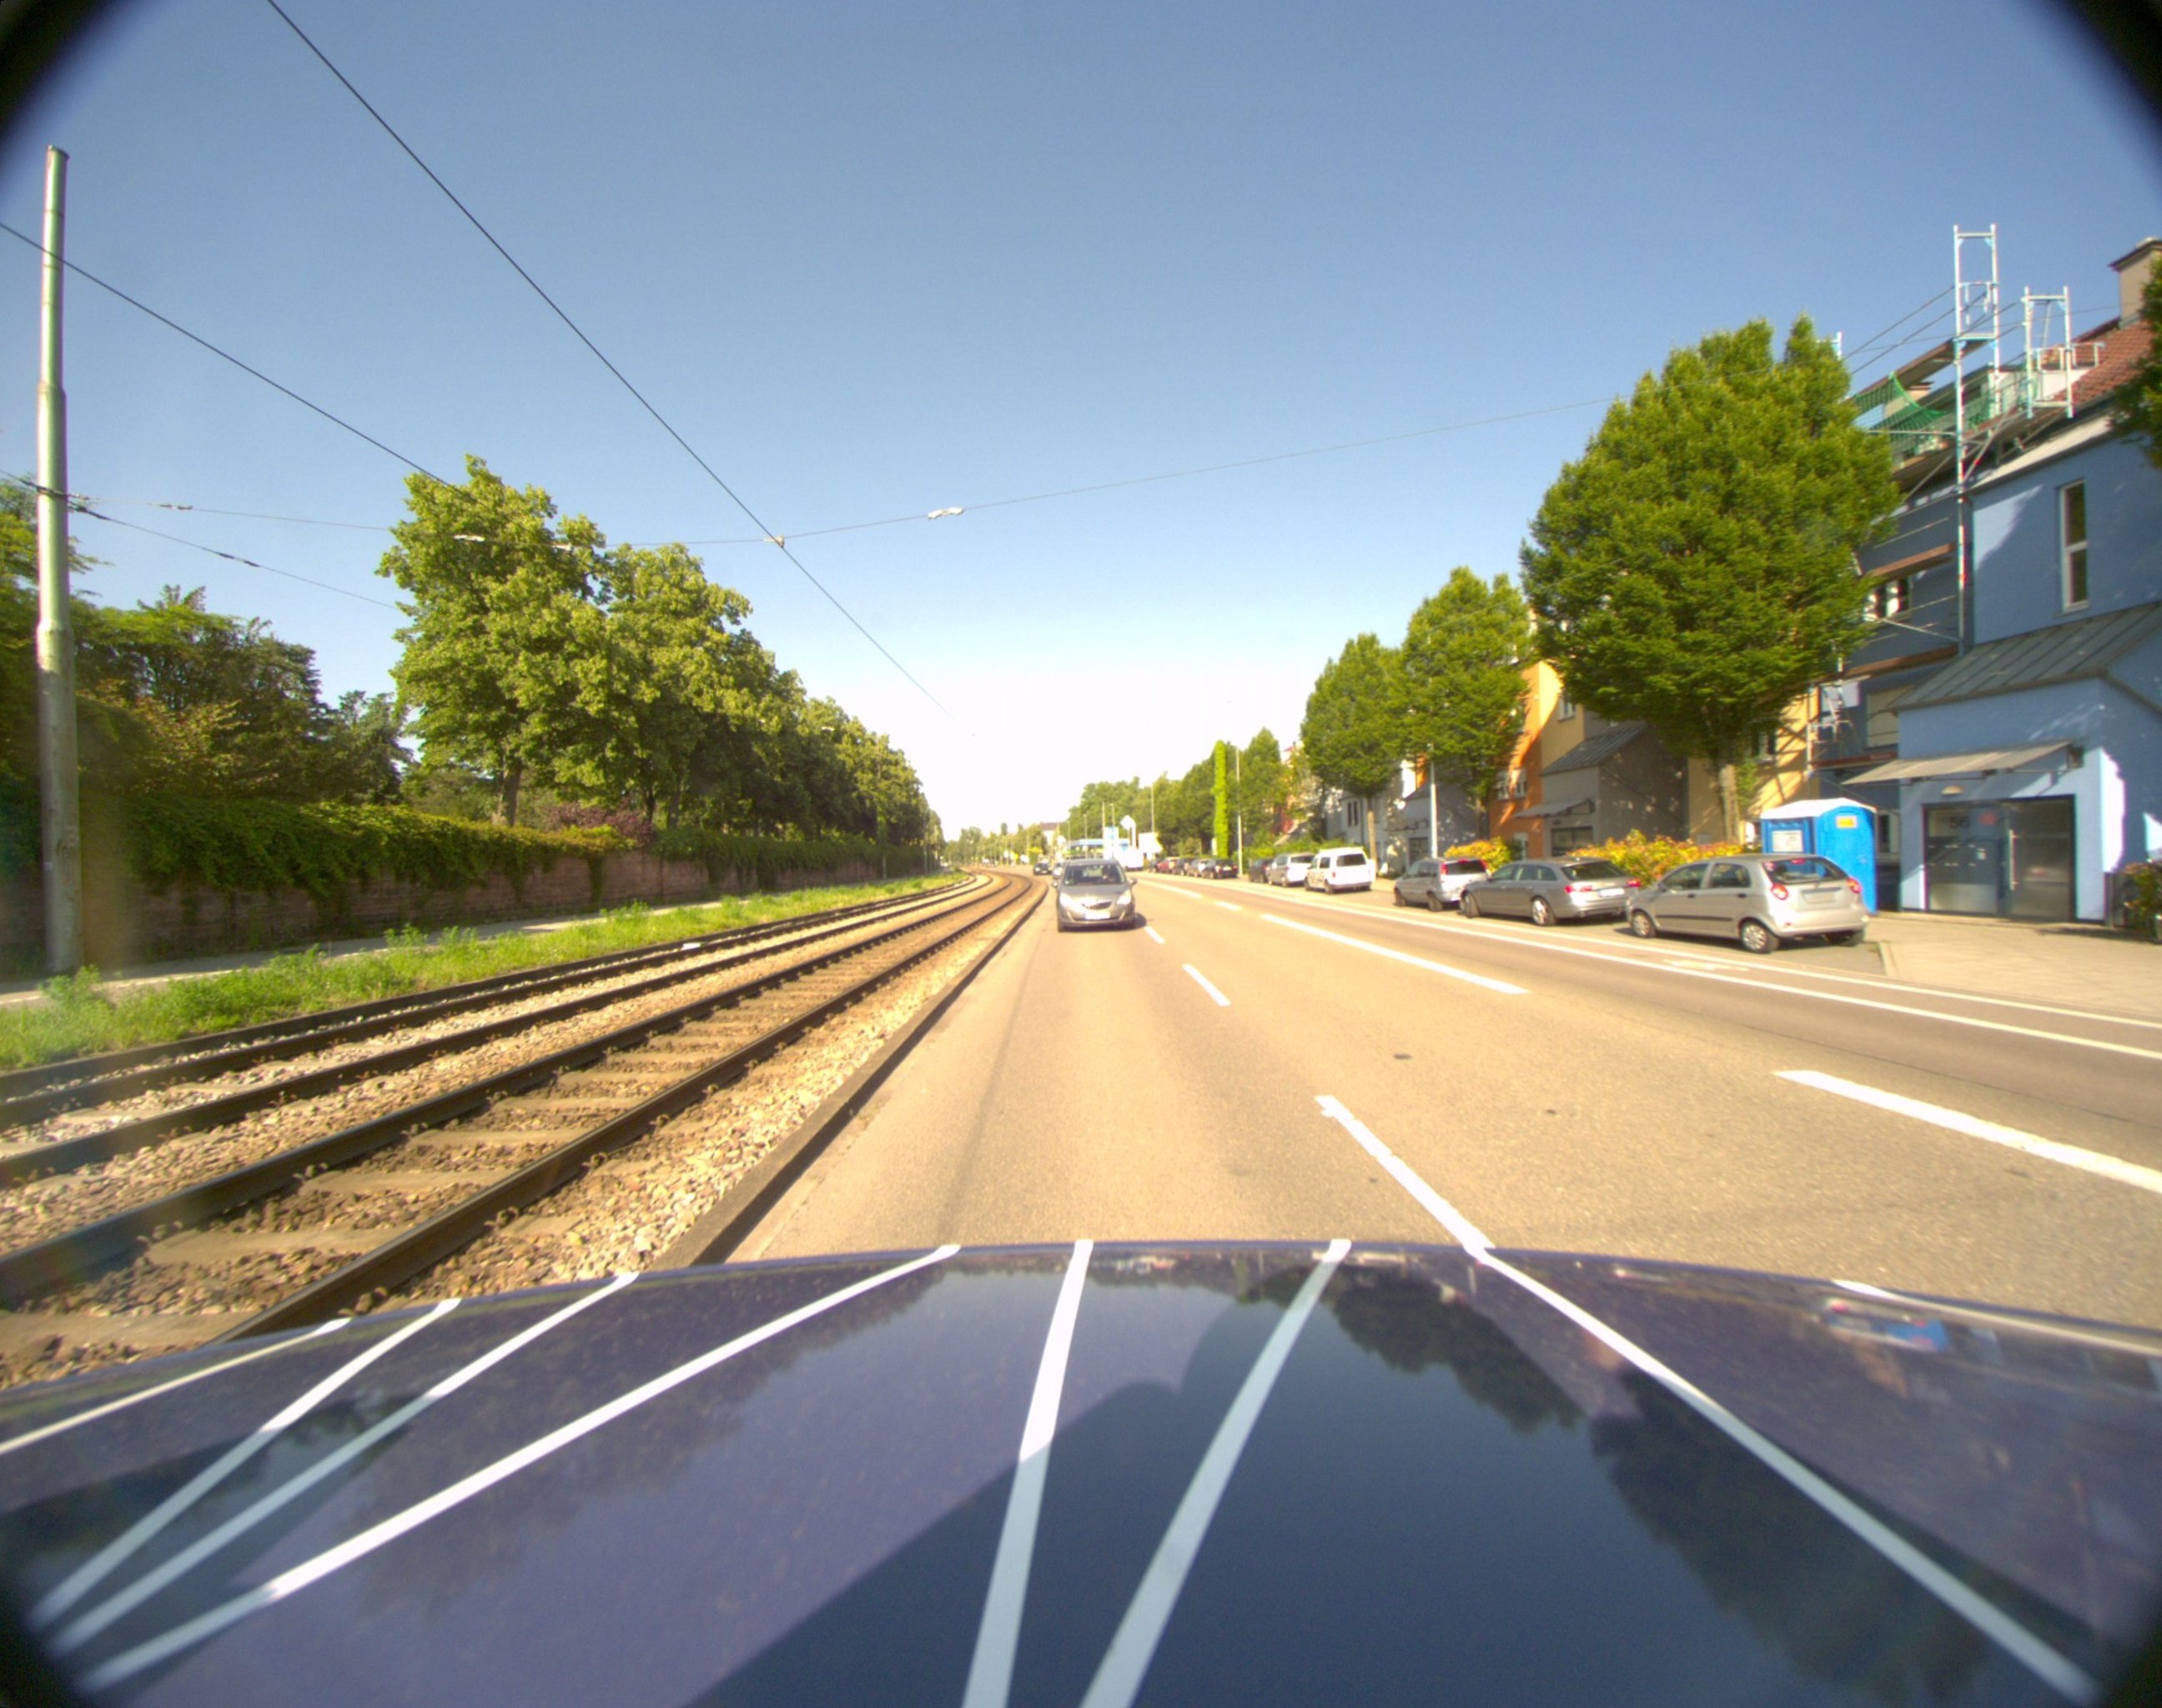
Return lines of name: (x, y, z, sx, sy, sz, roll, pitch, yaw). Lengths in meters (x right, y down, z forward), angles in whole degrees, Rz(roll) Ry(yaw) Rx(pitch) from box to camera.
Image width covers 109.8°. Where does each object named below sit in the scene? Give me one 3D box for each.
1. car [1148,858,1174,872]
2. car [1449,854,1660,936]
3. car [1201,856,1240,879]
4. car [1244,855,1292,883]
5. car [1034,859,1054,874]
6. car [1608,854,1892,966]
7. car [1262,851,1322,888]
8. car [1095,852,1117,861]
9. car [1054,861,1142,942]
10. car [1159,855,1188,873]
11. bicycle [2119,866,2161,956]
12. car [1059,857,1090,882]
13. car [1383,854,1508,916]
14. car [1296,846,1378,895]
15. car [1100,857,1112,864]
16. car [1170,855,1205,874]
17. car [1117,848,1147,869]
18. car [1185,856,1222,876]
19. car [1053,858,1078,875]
car: (8.248, 1.109, 78.537, 1.657, 1.416, 4.710, -2, 0, -7)
car: (10.844, 0.850, 17.925, 1.753, 1.502, 4.754, -6, 0, -2)
car: (10.214, 0.960, 56.083, 1.714, 1.463, 4.908, -4, 0, -2)
car: (10.964, 0.842, 44.832, 1.620, 1.457, 4.057, -3, 0, -2)
car: (-4.067, 1.359, 83.688, 1.711, 1.581, 3.997, -3, 0, -9)
car: (11.039, 0.824, 12.904, 1.605, 1.486, 3.509, -6, 0, 0)
car: (10.874, 0.763, 39.443, 1.672, 1.691, 4.824, -3, 0, 0)
car: (5.925, 0.636, 180.980, 5.086, 1.929, 1.856, -1, 0, -5)
car: (0.320, 0.973, 17.210, 1.730, 1.574, 3.763, -2, 0, -1)
car: (8.893, 0.953, 73.240, 1.768, 1.565, 4.159, -2, 1, -7)
bicycle: (14.169, 0.749, 9.375, 0.444, 1.147, 1.785, -1, 1, 7)
car: (-0.461, 0.972, 49.387, 1.710, 1.487, 3.998, -3, 0, -4)
car: (10.929, 0.854, 23.107, 1.767, 1.530, 3.981, -6, 0, 1)
car: (11.070, 0.675, 33.218, 1.767, 1.835, 4.579, -6, 0, -2)
car: (5.389, 1.467, 163.629, 1.742, 1.481, 4.271, -1, 0, -8)
car: (9.395, 0.896, 67.375, 1.768, 1.564, 4.433, -3, 0, -10)
car: (6.177, 0.574, 93.348, 2.159, 2.443, 6.179, -4, 0, -10)
car: (9.951, 0.942, 62.038, 1.717, 1.463, 4.841, -3, 1, -5)
car: (-1.301, 1.010, 62.132, 1.579, 1.306, 3.998, -3, 0, -6)
